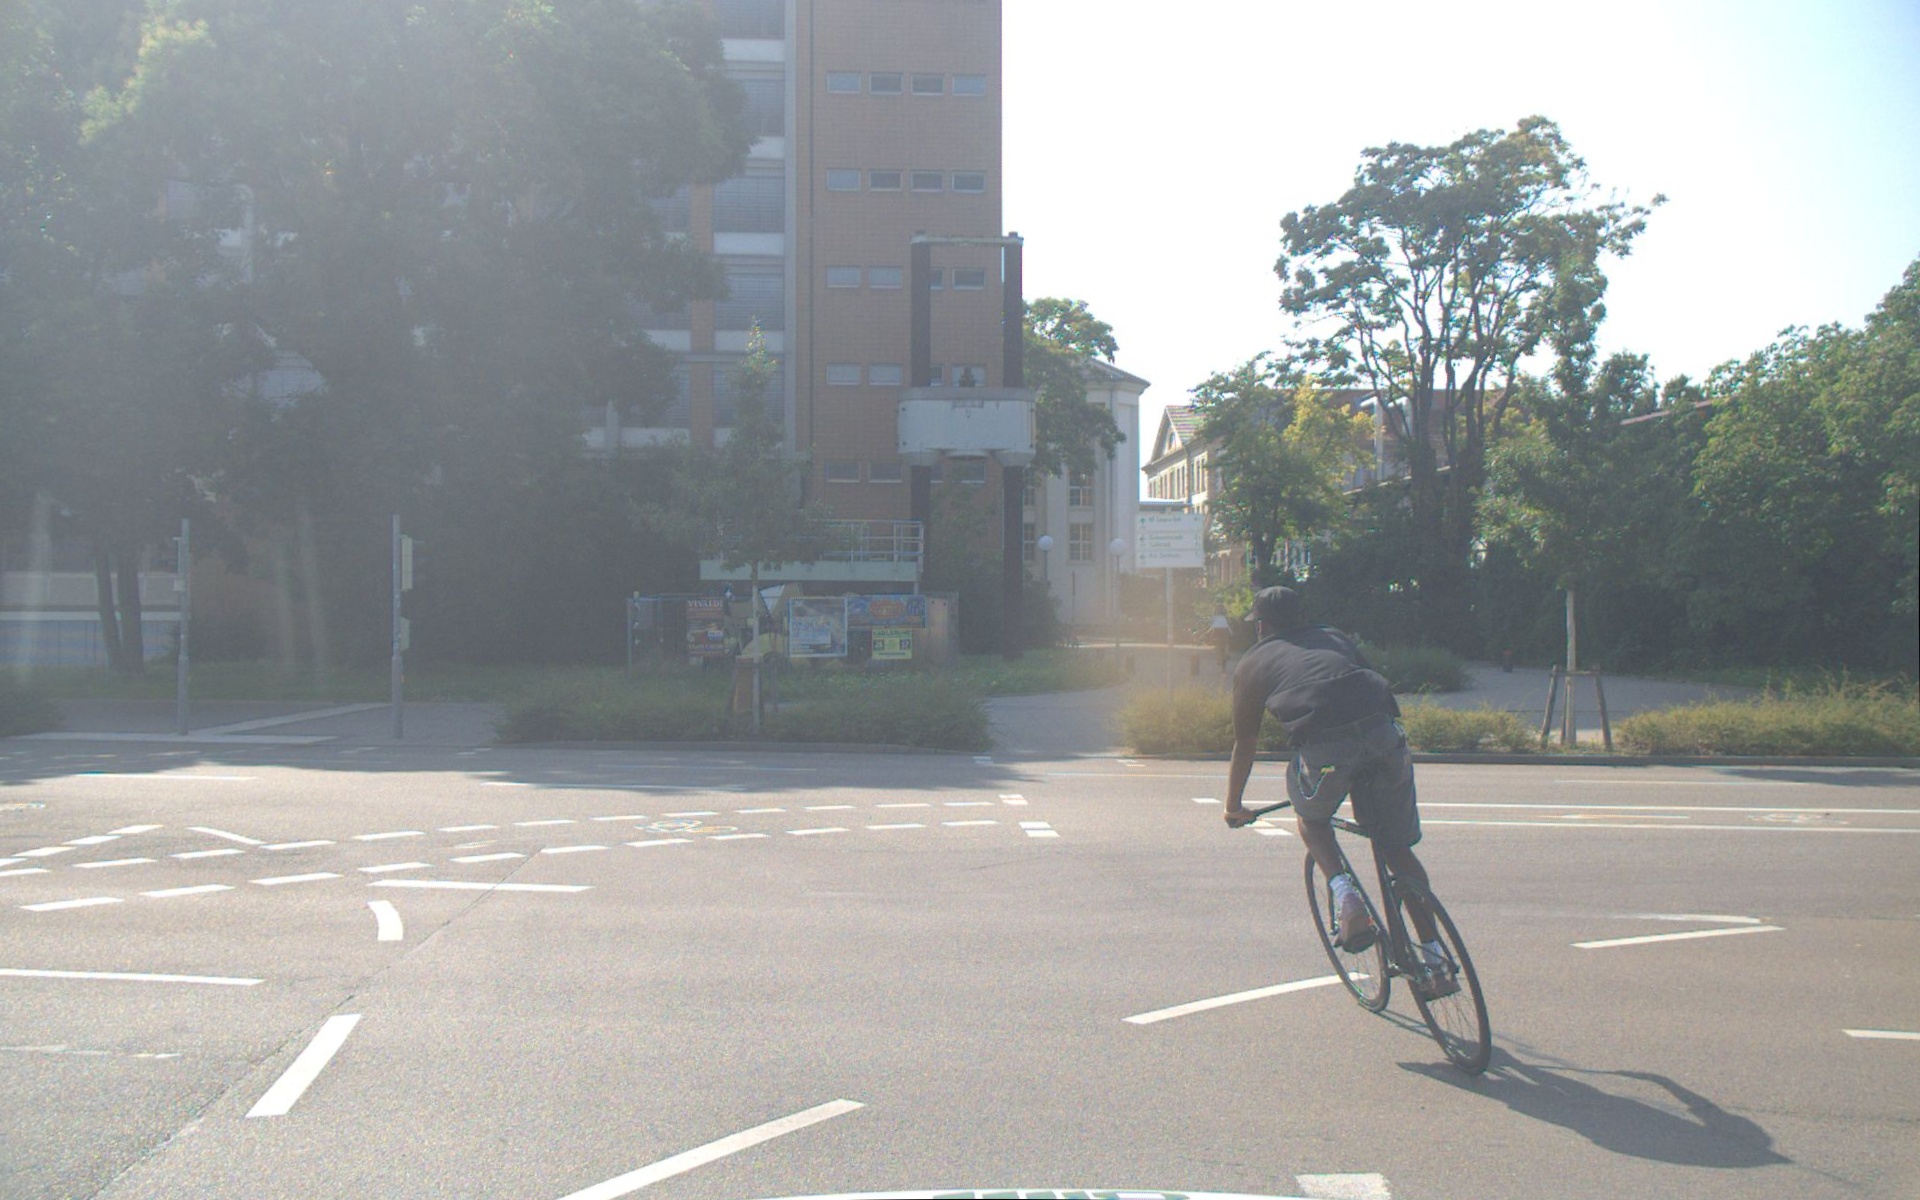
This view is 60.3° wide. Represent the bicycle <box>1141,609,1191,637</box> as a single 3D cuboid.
[{"bbox_3d":[10.074,1.116,80.971,2.376,1.304,0.720,2,-1,2],"label":"bicycle"}]

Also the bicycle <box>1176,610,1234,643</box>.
[{"bbox_3d":[10.451,1.113,70.613,2.376,1.341,0.720,2,-1,2],"label":"bicycle"}]

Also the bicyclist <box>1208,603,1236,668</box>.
[{"bbox_3d":[6.638,0.880,41.896,0.636,1.629,0.920,0,0,6],"label":"bicyclist"}]

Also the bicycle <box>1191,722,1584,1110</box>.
[{"bbox_3d":[1.426,1.017,6.003,0.756,0.993,2.148,0,0,-3],"label":"bicycle"}]

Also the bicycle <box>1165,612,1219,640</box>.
[{"bbox_3d":[10.684,1.194,76.225,2.376,1.256,0.720,2,-1,2],"label":"bicycle"}]

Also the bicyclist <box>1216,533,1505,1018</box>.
[{"bbox_3d":[1.413,0.583,6.007,0.756,1.606,0.990,0,0,-4],"label":"bicyclist"}]

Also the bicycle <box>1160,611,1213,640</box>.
[{"bbox_3d":[10.564,1.180,77.223,2.376,1.261,0.720,2,-1,2],"label":"bicycle"}]

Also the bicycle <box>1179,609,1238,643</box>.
[{"bbox_3d":[10.426,1.105,69.476,2.376,1.341,0.720,2,-1,2],"label":"bicycle"}]

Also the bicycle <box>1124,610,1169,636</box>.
[{"bbox_3d":[10.014,1.215,88.860,2.376,1.303,0.720,2,-1,2],"label":"bicycle"}]

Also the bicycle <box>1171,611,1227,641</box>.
[{"bbox_3d":[10.561,1.159,73.154,2.376,1.245,0.720,2,-1,2],"label":"bicycle"}]

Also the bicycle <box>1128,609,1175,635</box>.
[{"bbox_3d":[10.168,1.154,87.759,2.376,1.284,0.720,2,-1,2],"label":"bicycle"}]

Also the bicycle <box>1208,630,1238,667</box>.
[{"bbox_3d":[6.655,1.216,41.890,0.659,0.895,1.402,0,0,5],"label":"bicycle"}]

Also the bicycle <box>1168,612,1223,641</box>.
[{"bbox_3d":[10.585,1.176,74.428,2.376,1.245,0.720,2,-1,2],"label":"bicycle"}]

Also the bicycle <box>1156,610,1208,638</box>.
[{"bbox_3d":[10.500,1.146,78.277,2.376,1.250,0.720,2,-1,2],"label":"bicycle"}]
